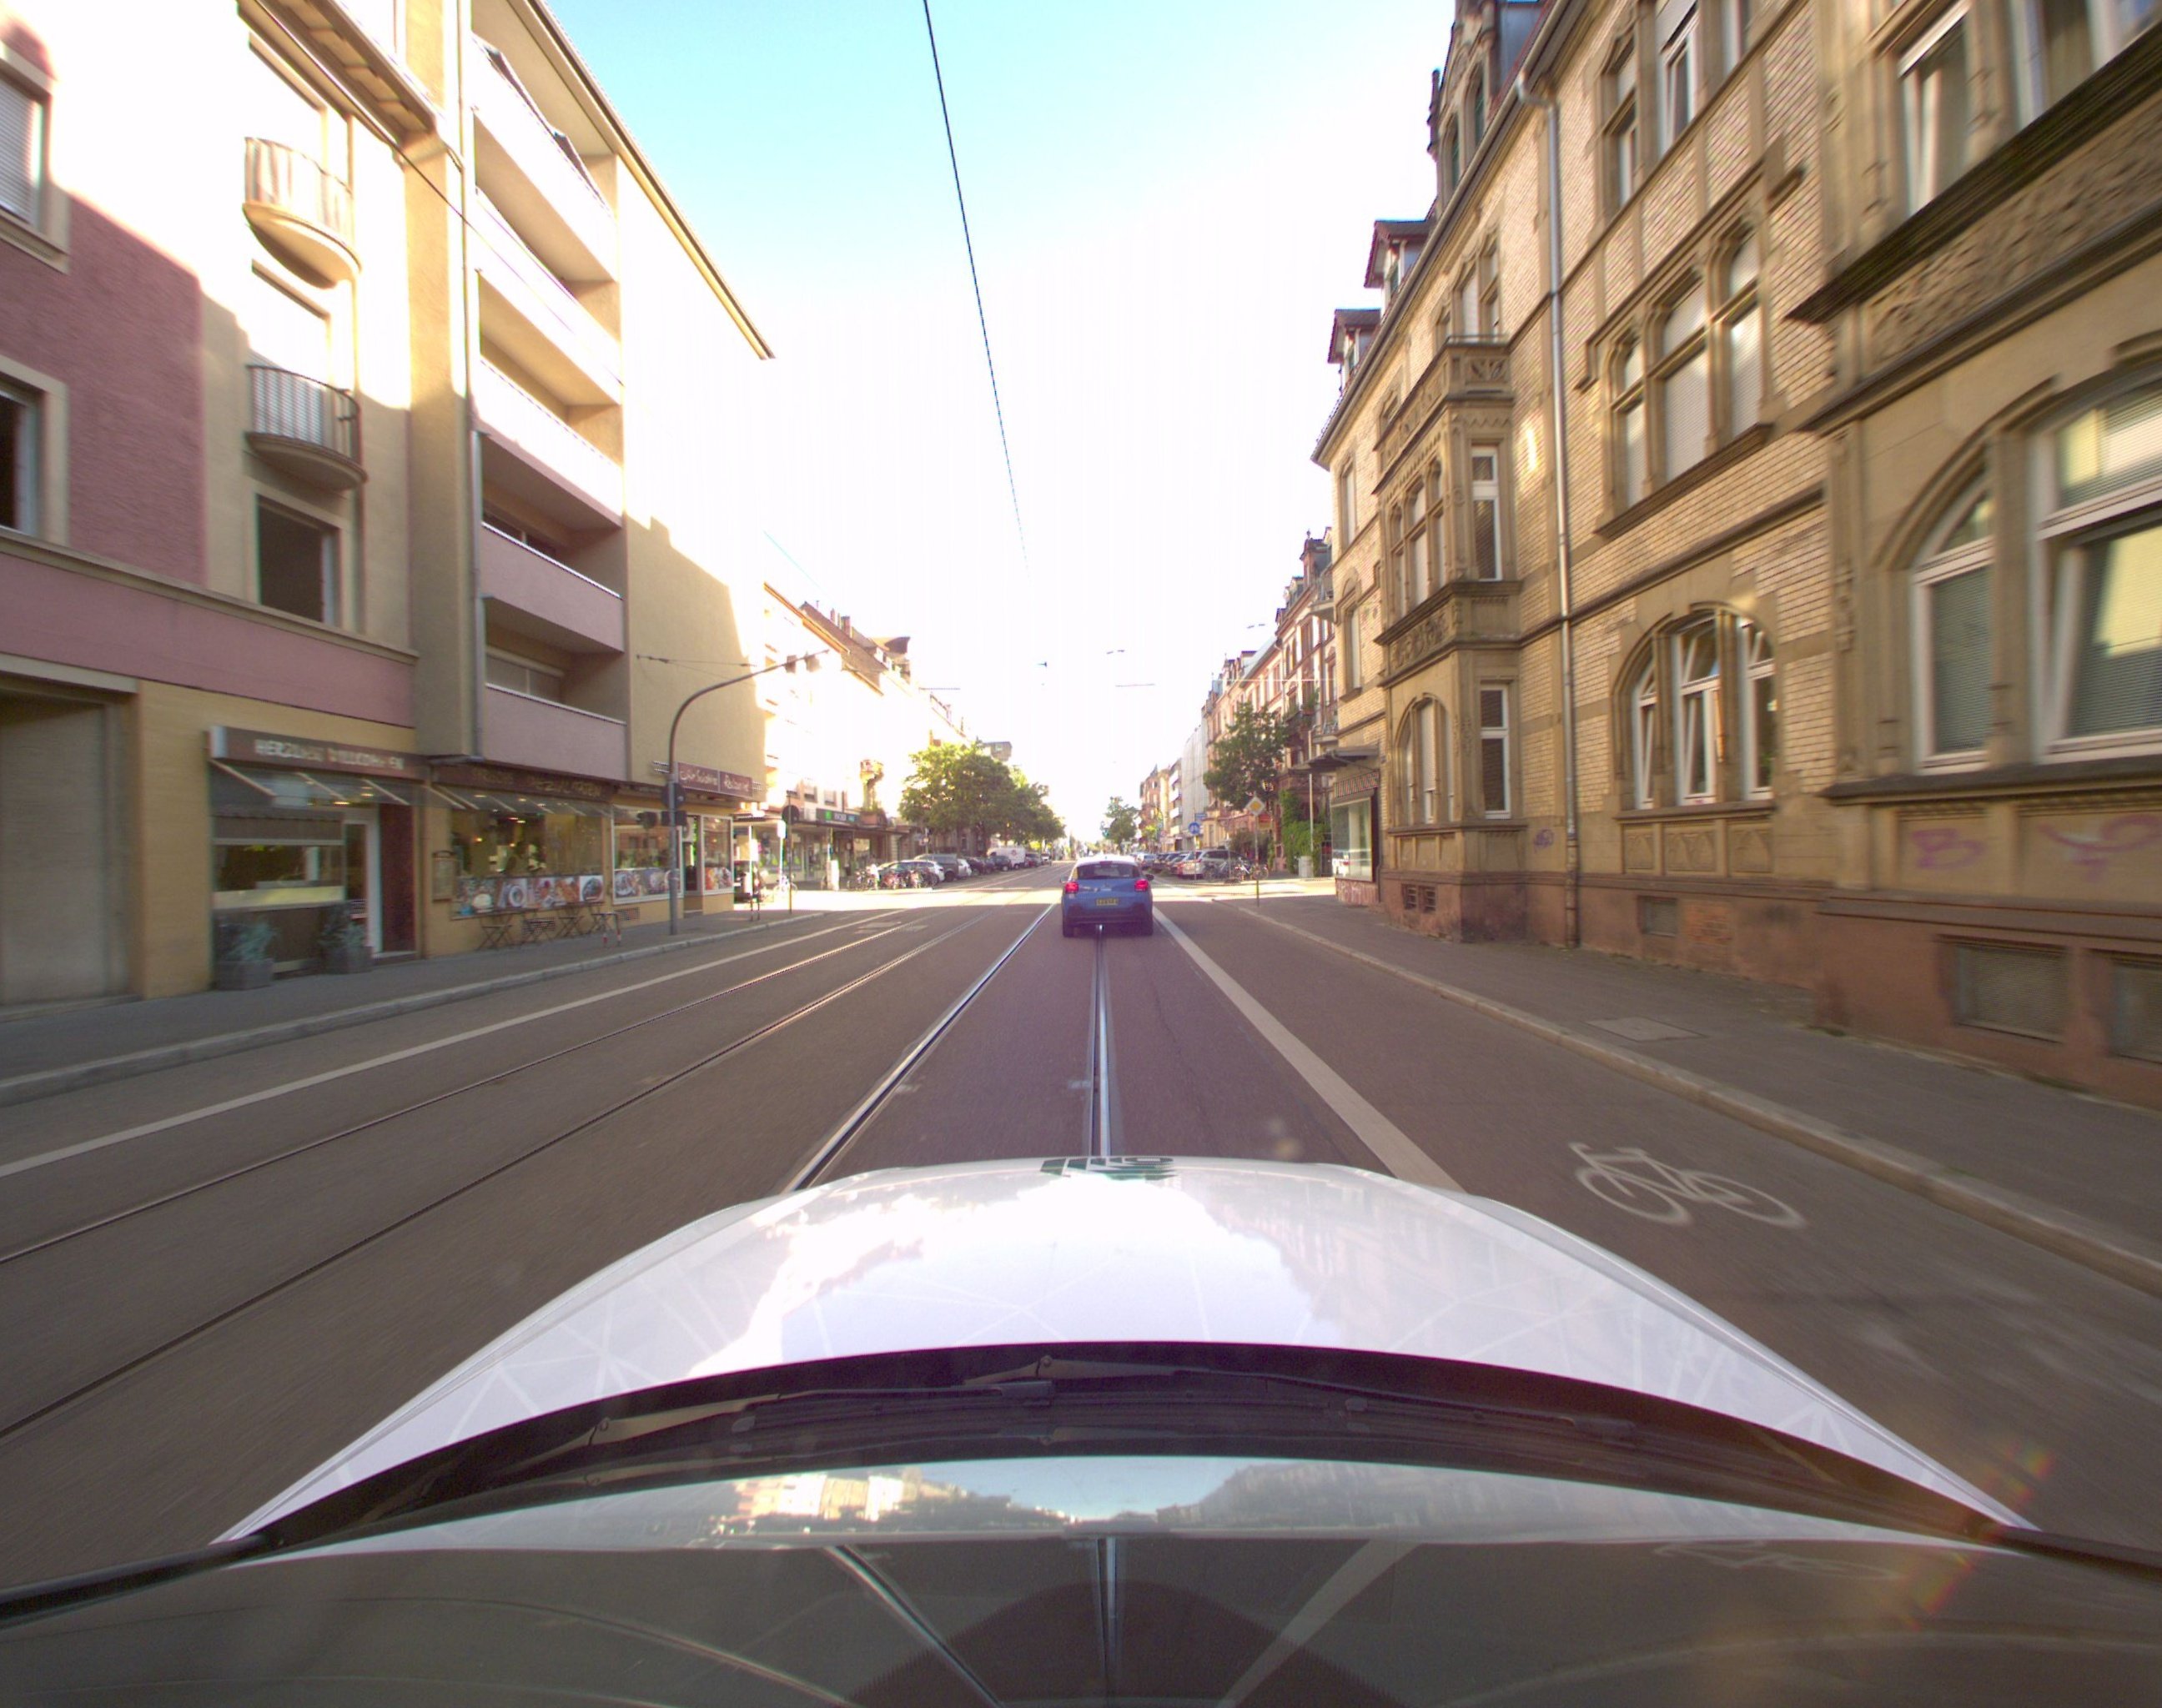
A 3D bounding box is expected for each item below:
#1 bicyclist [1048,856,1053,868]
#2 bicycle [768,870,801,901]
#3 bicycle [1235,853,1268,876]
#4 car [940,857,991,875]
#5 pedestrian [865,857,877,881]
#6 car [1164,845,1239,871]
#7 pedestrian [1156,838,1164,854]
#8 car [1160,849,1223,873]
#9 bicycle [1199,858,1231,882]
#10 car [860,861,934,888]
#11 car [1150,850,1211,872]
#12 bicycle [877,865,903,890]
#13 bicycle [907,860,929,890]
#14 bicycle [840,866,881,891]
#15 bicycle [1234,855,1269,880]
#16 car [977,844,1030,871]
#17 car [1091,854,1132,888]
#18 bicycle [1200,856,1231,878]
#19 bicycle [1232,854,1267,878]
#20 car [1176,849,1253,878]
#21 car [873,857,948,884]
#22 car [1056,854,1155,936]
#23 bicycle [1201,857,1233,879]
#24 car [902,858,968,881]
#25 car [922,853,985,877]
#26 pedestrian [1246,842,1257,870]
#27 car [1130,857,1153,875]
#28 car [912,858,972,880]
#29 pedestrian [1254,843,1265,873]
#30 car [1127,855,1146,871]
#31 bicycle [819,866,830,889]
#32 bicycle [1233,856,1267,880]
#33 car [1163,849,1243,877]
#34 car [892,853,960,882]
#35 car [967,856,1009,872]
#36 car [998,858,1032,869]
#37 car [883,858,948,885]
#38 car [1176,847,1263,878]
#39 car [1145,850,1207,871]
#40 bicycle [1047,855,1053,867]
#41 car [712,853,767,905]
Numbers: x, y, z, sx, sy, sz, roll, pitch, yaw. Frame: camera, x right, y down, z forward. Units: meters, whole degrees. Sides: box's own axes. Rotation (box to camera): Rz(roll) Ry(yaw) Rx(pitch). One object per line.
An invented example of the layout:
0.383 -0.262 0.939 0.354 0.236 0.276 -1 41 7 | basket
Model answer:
-4.336 1.088 114.932 0.632 1.681 0.727 -1 -1 1 | bicyclist
-12.694 1.333 34.926 0.680 1.109 2.431 -1 2 -5 | bicycle
8.532 0.523 40.788 1.547 1.127 0.552 -1 -1 7 | bicycle
-9.995 1.011 70.691 4.008 1.489 1.790 -1 -1 -27 | car
-14.167 1.015 54.943 0.567 1.652 0.641 -1 -1 1 | pedestrian
7.766 0.250 52.449 4.337 1.596 2.029 -1 -1 -24 | car
8.122 -0.780 83.555 0.709 1.607 0.654 -1 -1 0 | pedestrian
7.781 0.499 57.325 4.005 1.596 1.944 -1 -1 -24 | car
6.426 0.763 38.944 1.397 1.127 0.550 -1 -1 -9 | bicycle
-9.680 1.046 42.978 3.484 1.337 1.608 -1 -1 -33 | car
7.382 0.526 60.467 4.005 1.596 2.071 -1 -1 -24 | car
-9.386 1.122 39.962 0.686 1.123 1.870 -2 2 -29 | bicycle
-8.054 1.010 40.272 0.680 1.319 2.433 -1 2 -3 | bicycle
-10.701 1.169 39.451 2.404 1.109 0.688 1 2 41 | bicycle
8.071 0.645 38.557 1.547 1.127 0.552 -1 -1 7 | bicycle
-8.371 0.372 88.001 5.402 2.749 1.789 -1 -1 -29 | car
1.485 0.808 40.018 1.866 1.596 4.001 -1 0 2 | car
6.760 0.656 40.992 1.551 1.127 0.295 -1 -1 7 | bicycle
8.213 0.601 39.736 1.665 1.127 0.552 -1 -1 7 | bicycle
7.634 0.523 46.602 4.005 1.536 1.903 -1 -1 -24 | car
-9.604 0.914 45.900 3.805 1.400 1.737 -1 -1 -32 | car
0.470 0.745 16.347 1.756 1.441 3.557 -1 0 1 | car
6.771 0.691 40.658 1.547 1.079 0.308 -1 -1 7 | bicycle
-9.723 1.003 54.308 4.032 1.449 1.682 -1 -1 -31 | car
-9.744 0.840 62.349 4.381 1.783 1.976 -1 -1 -31 | car
10.200 0.129 48.698 0.516 1.648 0.864 -1 -1 1 | pedestrian
5.574 1.055 75.170 1.866 1.596 4.721 -1 0 2 | car
-9.851 1.050 57.730 3.850 1.430 1.751 -1 -1 -25 | car
10.752 0.262 49.088 0.516 1.778 0.864 -1 -1 1 | pedestrian
5.871 0.924 86.448 1.866 1.596 4.001 -1 0 2 | car
-12.577 1.143 39.887 0.404 1.109 1.825 -1 -1 -20 | bicycle
8.132 0.675 39.128 1.547 1.127 0.529 -1 -1 7 | bicycle
7.445 0.535 49.813 4.454 1.596 2.072 -1 -1 -24 | car
-9.813 0.836 51.568 3.831 1.785 1.781 -1 -1 -27 | car
-9.360 1.018 82.142 3.994 1.489 1.797 -1 -1 -16 | car
-7.885 1.168 97.811 3.815 1.265 1.504 -1 -1 -25 | car
-9.964 1.040 48.938 3.479 1.473 1.633 -2 0 -28 | car
7.541 0.459 44.306 4.371 1.596 1.839 -1 -1 -24 | car
7.319 0.490 62.886 4.322 1.596 1.967 -1 -1 -24 | car
-4.328 0.963 114.952 0.678 1.678 2.097 -1 -1 2 | bicycle
-14.943 1.022 35.805 1.849 1.817 4.330 -4 4 -19 | car
